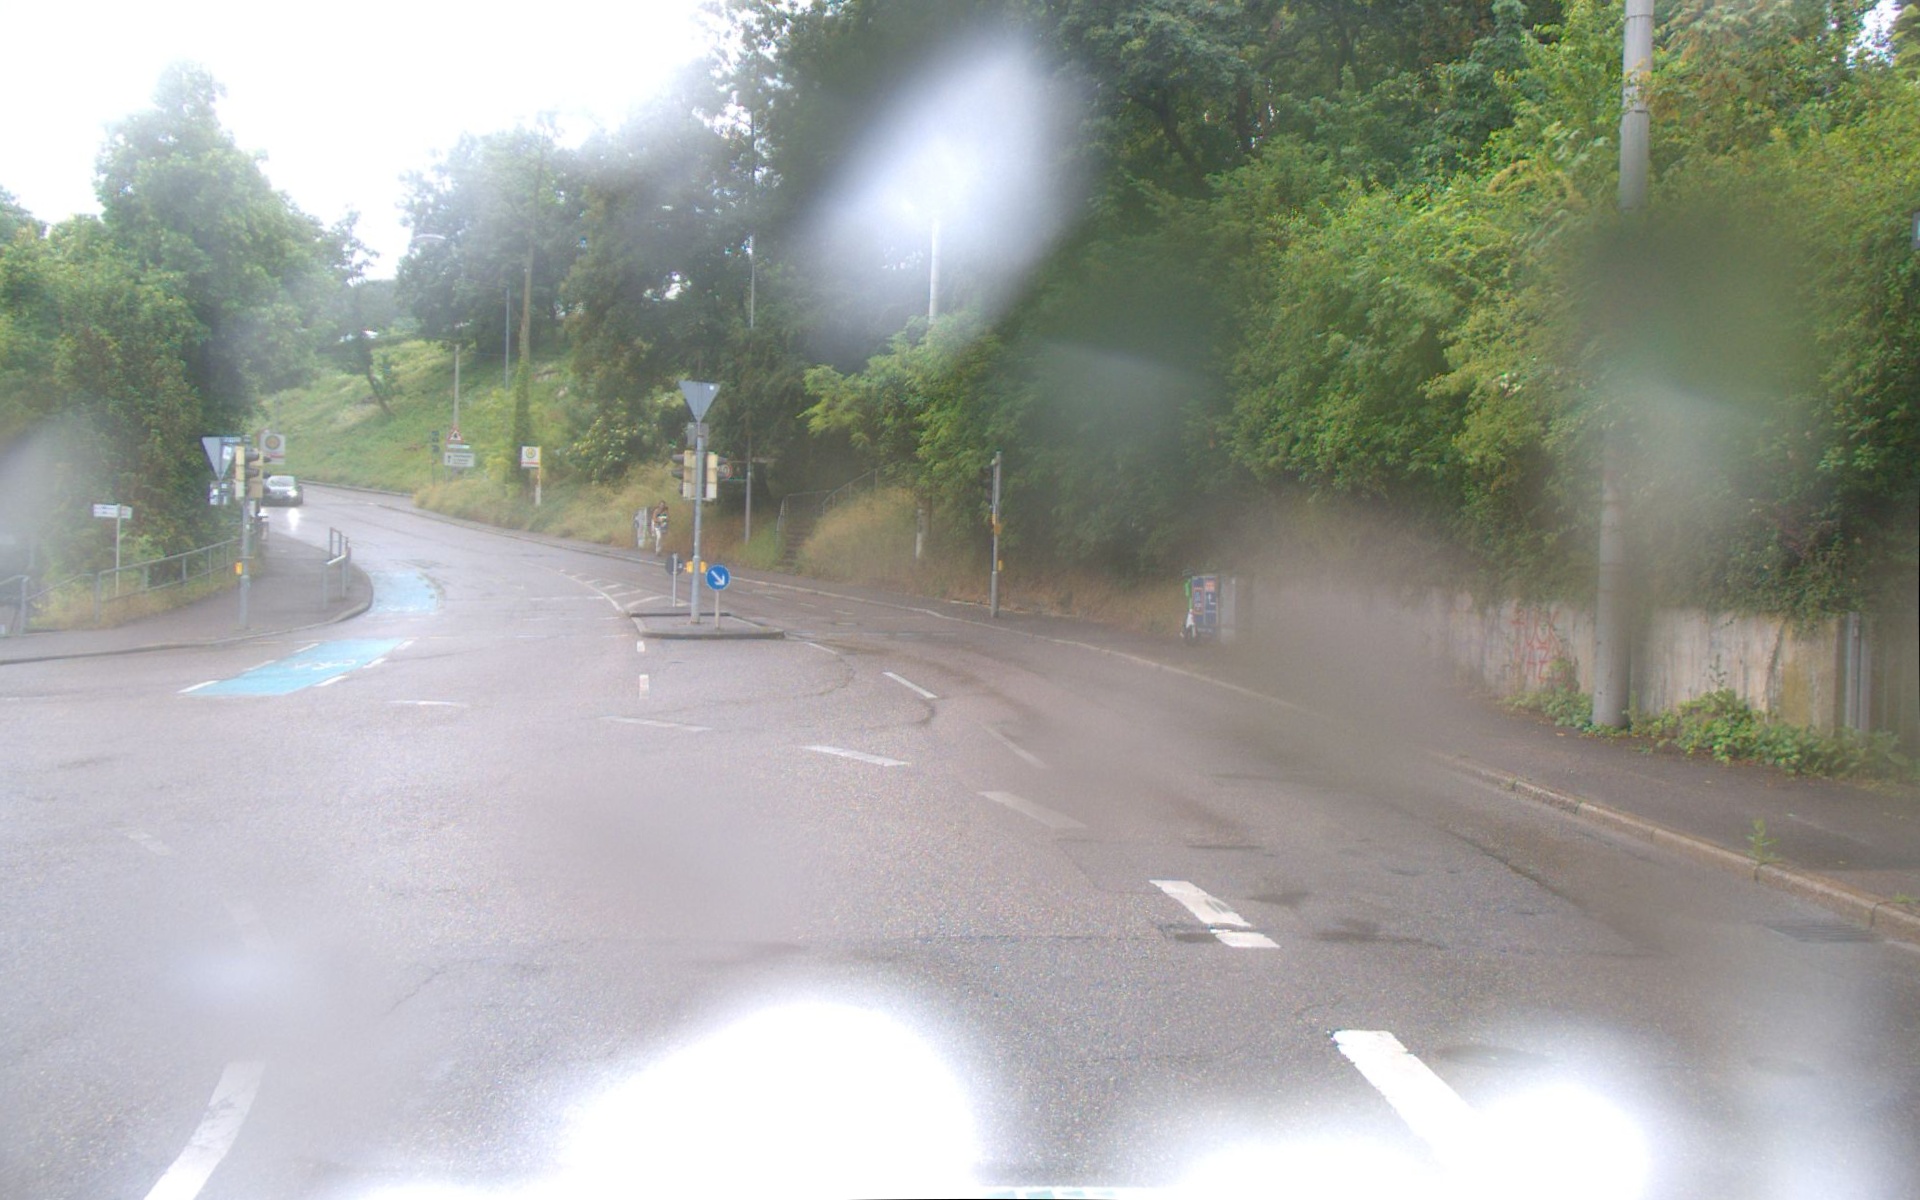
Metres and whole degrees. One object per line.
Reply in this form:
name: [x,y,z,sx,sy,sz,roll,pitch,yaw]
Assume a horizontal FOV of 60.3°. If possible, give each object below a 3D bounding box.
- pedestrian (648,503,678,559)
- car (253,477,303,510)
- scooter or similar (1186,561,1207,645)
pedestrian: [-9.748,-2.265,54.222,0.867,1.767,0.861,1,-1,-18]
car: [-34.244,-5.358,83.163,1.926,1.538,4.383,1,3,-18]
scooter or similar: [3.788,0.035,26.514,0.315,1.302,0.752,0,3,7]
